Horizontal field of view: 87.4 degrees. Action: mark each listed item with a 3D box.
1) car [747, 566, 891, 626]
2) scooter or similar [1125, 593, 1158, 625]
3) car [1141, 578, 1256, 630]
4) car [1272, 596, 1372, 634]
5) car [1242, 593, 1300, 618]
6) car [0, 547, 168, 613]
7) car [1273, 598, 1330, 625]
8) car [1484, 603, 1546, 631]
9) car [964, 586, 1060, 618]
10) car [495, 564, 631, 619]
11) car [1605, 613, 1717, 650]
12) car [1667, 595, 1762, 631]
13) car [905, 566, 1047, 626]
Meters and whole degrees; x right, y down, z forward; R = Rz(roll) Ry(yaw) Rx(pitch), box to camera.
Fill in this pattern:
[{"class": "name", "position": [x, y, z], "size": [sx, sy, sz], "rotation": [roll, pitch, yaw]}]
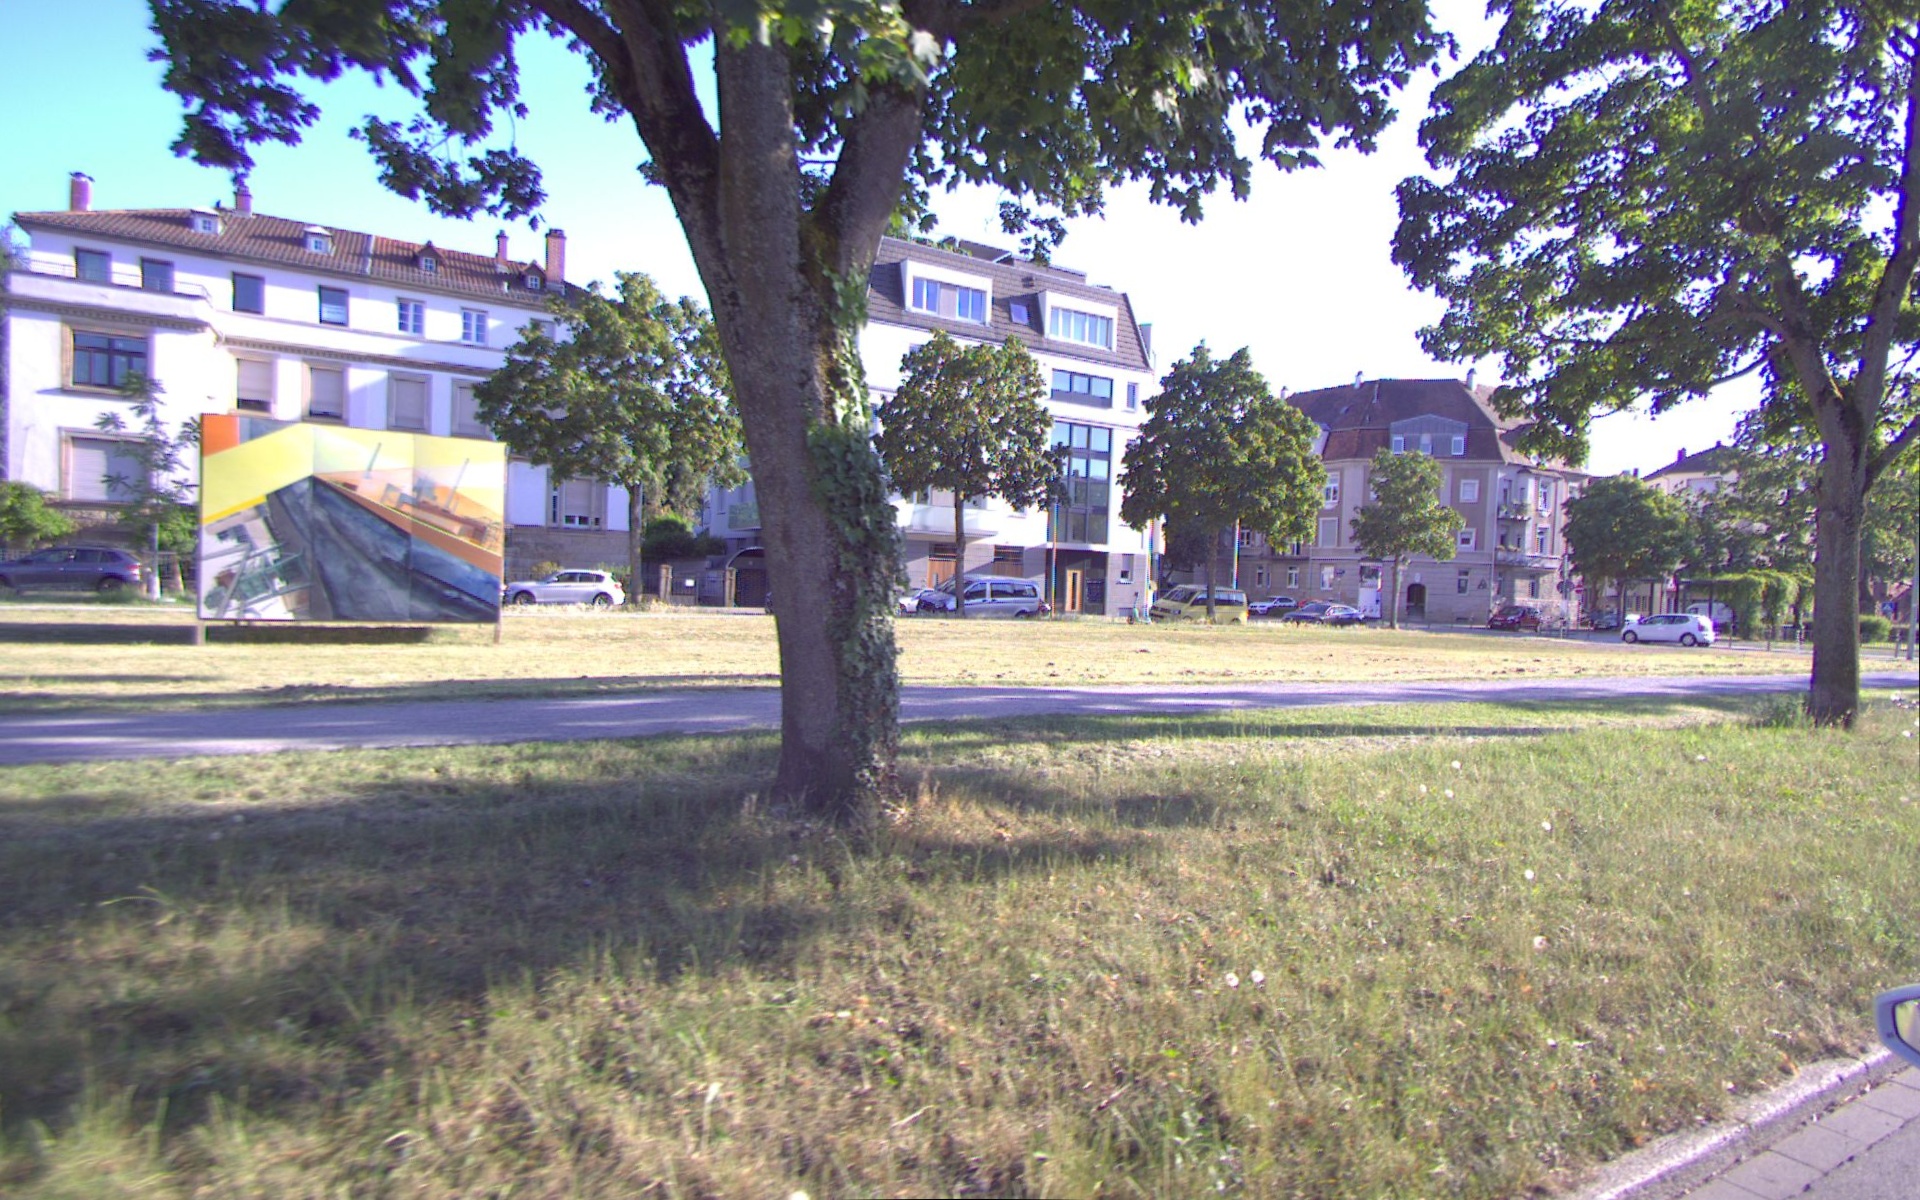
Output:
[{"class": "car", "position": [-4.961, -0.083, 35.457], "size": [4.637, 1.852, 1.919], "rotation": [3, -3, -30]}, {"class": "scooter or similar", "position": [6.786, 0.349, 37.518], "size": [1.285, 1.142, 0.389], "rotation": [2, 2, -38]}, {"class": "car", "position": [10.625, 0.244, 44.655], "size": [4.992, 2.084, 1.985], "rotation": [3, -3, -30]}, {"class": "car", "position": [17.740, 0.774, 49.153], "size": [4.769, 1.658, 1.975], "rotation": [2, -3, -29]}, {"class": "car", "position": [22.524, 0.425, 72.762], "size": [4.027, 1.658, 1.690], "rotation": [2, -3, -29]}, {"class": "car", "position": [-26.464, -0.568, 29.587], "size": [4.613, 1.725, 1.773], "rotation": [3, -3, -30]}, {"class": "car", "position": [21.234, 0.695, 62.549], "size": [1.656, 1.501, 3.585], "rotation": [0, 2, -14]}, {"class": "car", "position": [36.809, 1.134, 66.602], "size": [4.242, 1.729, 1.636], "rotation": [2, -3, -29]}, {"class": "car", "position": [2.429, 0.095, 46.982], "size": [4.011, 1.295, 1.986], "rotation": [2, 1, -27]}, {"class": "car", "position": [-14.536, -0.258, 36.856], "size": [4.406, 1.767, 1.813], "rotation": [3, -3, -29]}, {"class": "car", "position": [32.702, 1.472, 46.952], "size": [1.979, 1.617, 3.871], "rotation": [3, -3, -33]}, {"class": "car", "position": [64.382, 1.049, 85.871], "size": [6.203, 2.757, 1.999], "rotation": [3, 1, 30]}, {"class": "car", "position": [0.658, -0.081, 39.055], "size": [5.315, 2.027, 2.007], "rotation": [3, -3, -34]}]
